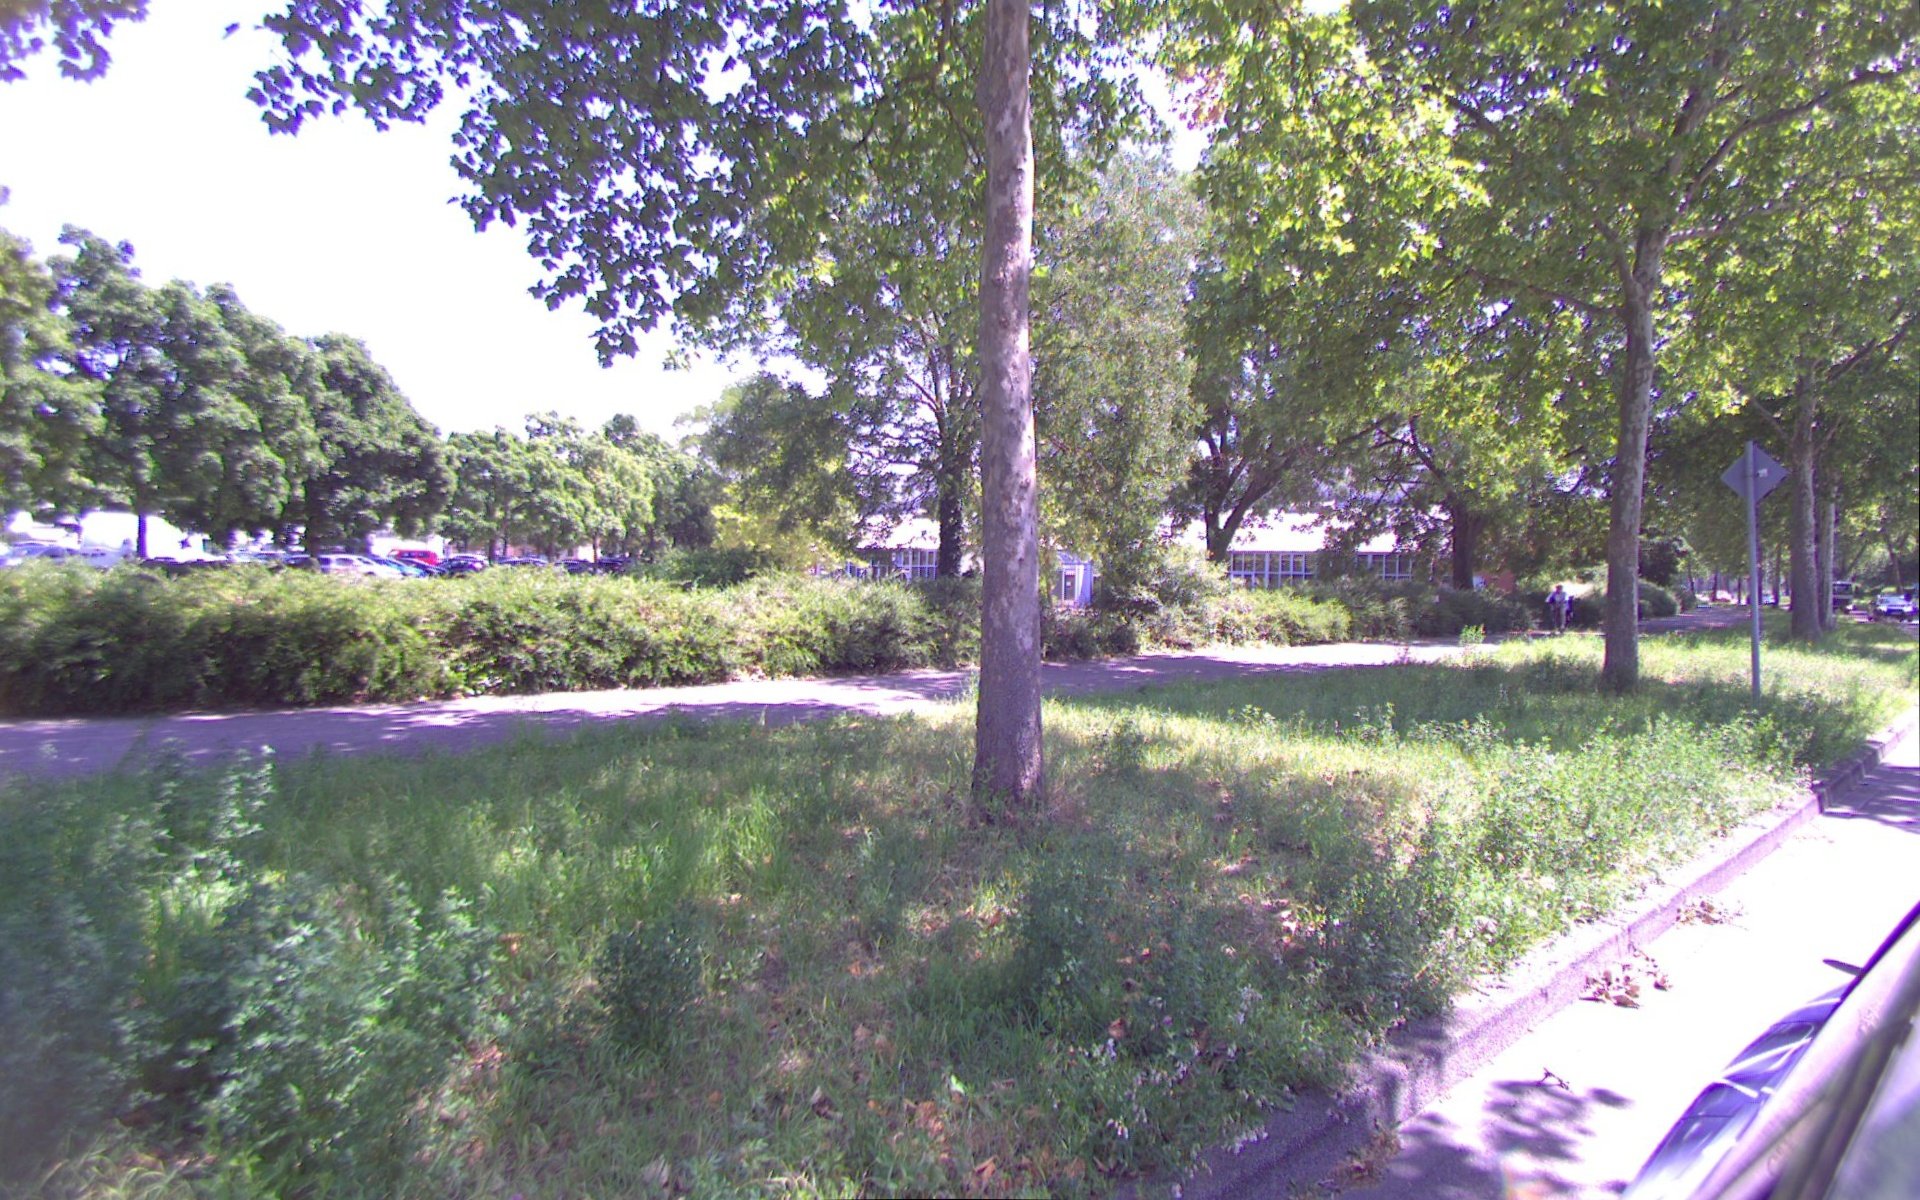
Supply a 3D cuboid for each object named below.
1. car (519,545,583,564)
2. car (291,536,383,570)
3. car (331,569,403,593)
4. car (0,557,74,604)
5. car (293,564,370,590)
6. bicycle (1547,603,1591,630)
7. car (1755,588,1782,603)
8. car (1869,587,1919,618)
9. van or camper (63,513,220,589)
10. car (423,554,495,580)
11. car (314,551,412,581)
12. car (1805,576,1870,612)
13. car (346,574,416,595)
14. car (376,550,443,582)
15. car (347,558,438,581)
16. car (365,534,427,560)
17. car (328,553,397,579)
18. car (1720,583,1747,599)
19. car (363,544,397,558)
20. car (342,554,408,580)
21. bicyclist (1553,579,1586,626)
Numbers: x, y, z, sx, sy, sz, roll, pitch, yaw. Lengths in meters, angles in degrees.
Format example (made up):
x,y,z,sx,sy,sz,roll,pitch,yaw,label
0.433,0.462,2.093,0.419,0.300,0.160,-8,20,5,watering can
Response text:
x,y,z,sx,sy,sz,roll,pitch,yaw,label
-62.611,-6.956,155.038,8.647,2.620,3.054,1,1,-9,car
-38.797,-2.908,63.144,4.334,2.038,2.249,1,1,-5,car
-25.718,-0.836,43.923,2.547,0.999,0.955,1,1,-8,car
-36.370,-0.753,38.434,1.919,1.739,4.073,1,1,-1,car
-26.303,-0.958,42.380,2.547,1.049,0.955,1,1,-8,car
18.141,0.475,30.121,1.636,0.773,0.465,0,1,-34,bicycle
82.452,-0.468,103.233,1.496,1.404,3.394,2,2,29,car
56.674,0.134,61.056,1.985,1.816,3.955,1,1,32,car
-32.487,-1.918,40.392,2.161,2.785,5.131,1,2,0,van or camper
-28.663,-1.903,57.962,3.357,1.383,1.720,1,1,-8,car
-27.406,-1.554,46.561,3.501,1.240,1.623,2,1,-8,car
70.306,-0.521,81.188,2.898,2.687,6.295,1,2,32,car
-25.845,-0.690,45.207,2.547,0.852,0.955,1,1,-8,car
-40.922,-2.511,75.307,3.920,2.040,1.968,-4,-2,-6,car
-27.508,-1.467,49.128,3.494,1.047,1.685,1,2,-8,car
-76.072,-7.169,136.682,7.056,3.221,3.197,0,1,-24,car
-27.513,-1.543,46.623,2.547,1.141,1.008,1,1,-8,car
90.648,-1.046,118.654,1.983,1.860,3.958,2,1,30,car
-70.226,-5.936,122.534,1.433,1.638,3.326,2,2,35,car
-27.648,-1.552,47.857,2.547,1.141,0.955,1,1,-8,car
18.181,0.066,30.191,0.653,1.355,0.601,0,1,-33,bicyclist
